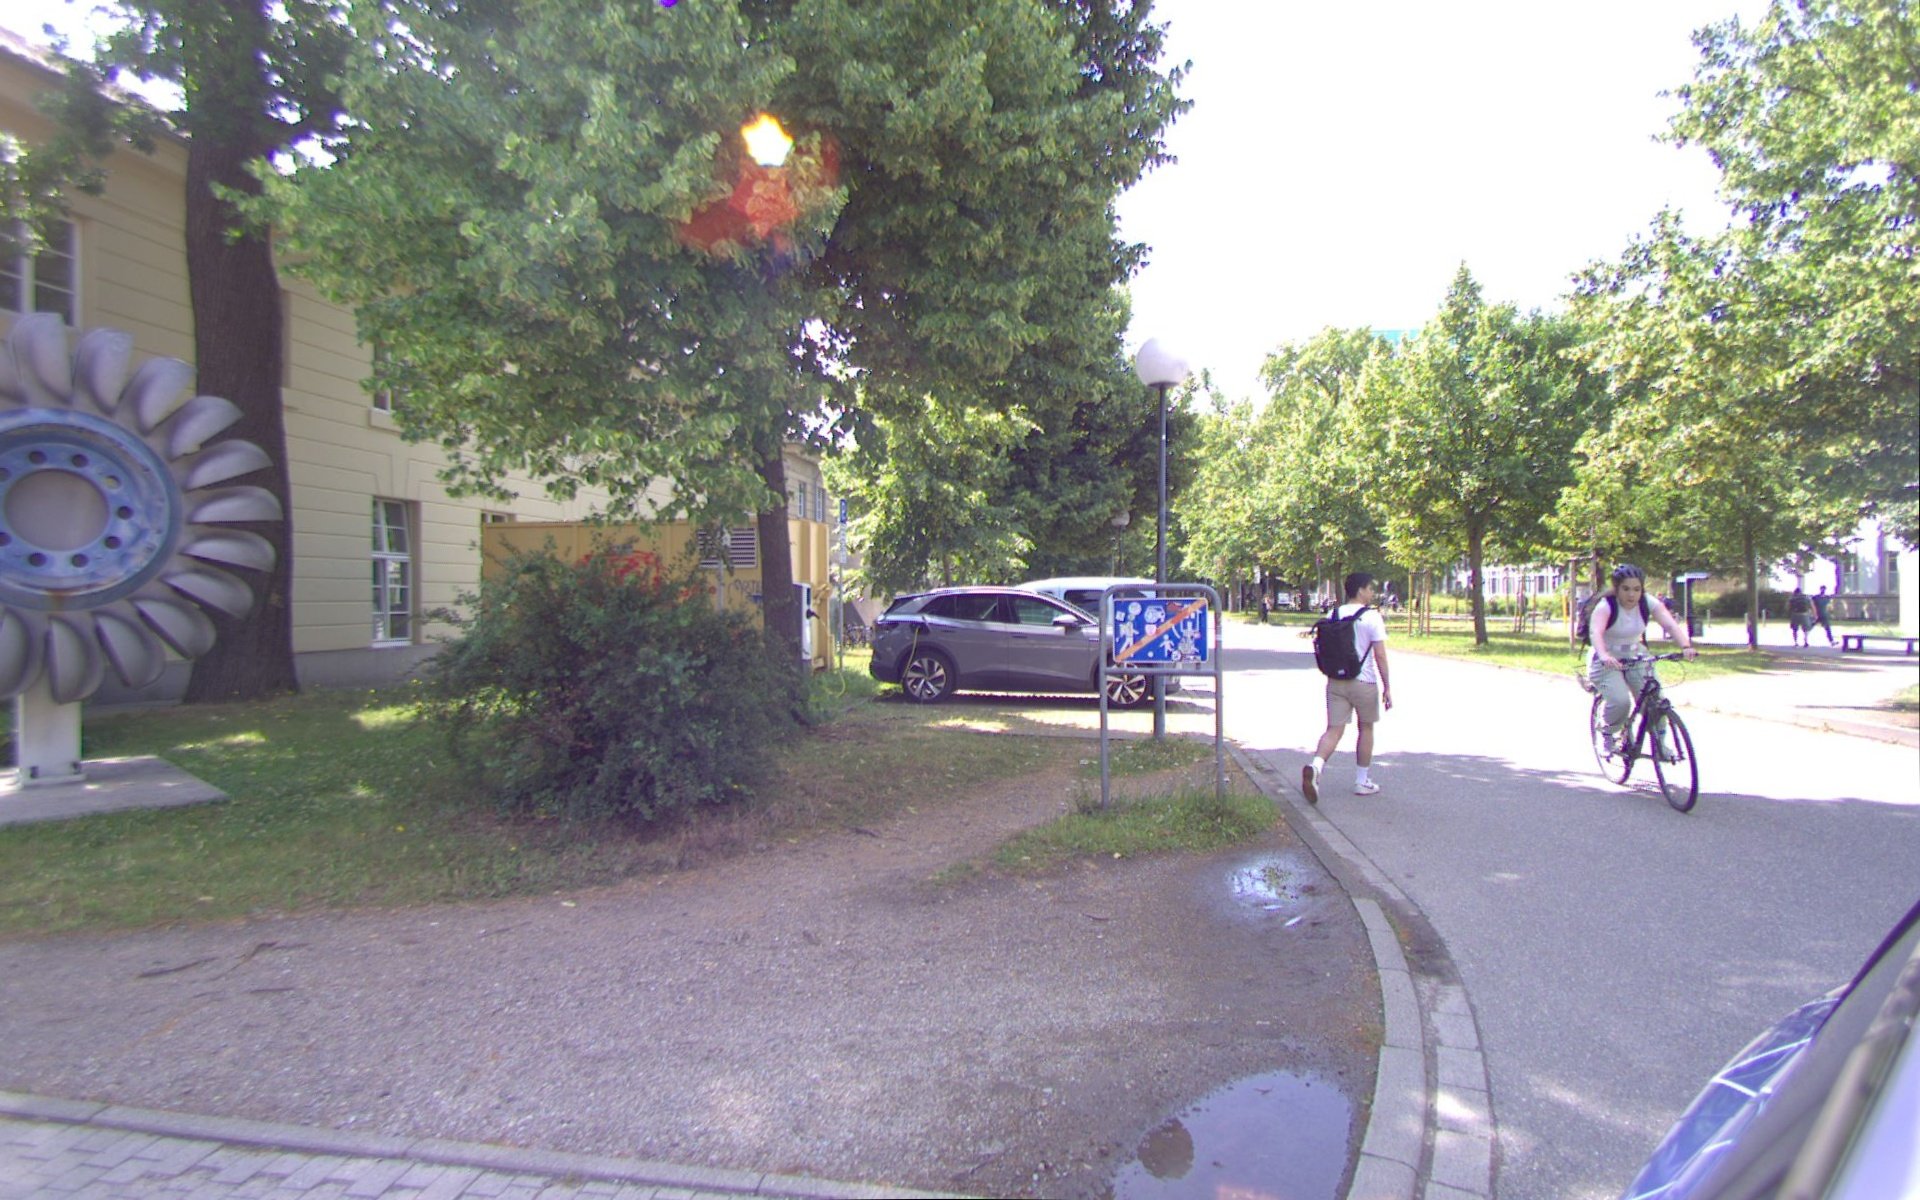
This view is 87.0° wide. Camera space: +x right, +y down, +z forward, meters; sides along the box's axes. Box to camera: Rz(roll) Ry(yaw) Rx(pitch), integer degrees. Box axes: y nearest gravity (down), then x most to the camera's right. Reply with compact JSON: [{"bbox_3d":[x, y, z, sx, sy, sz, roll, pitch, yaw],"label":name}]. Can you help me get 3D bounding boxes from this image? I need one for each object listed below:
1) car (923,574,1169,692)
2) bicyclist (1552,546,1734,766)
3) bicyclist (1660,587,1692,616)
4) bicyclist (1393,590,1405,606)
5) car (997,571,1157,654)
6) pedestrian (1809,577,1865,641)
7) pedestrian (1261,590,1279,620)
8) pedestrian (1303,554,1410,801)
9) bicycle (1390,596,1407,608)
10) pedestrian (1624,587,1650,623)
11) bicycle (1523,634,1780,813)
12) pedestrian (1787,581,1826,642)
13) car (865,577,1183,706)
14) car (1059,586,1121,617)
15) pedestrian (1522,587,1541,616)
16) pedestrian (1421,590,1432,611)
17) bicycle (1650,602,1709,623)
[{"bbox_3d":[1.459,0.529,17.121,3.932,1.861,1.820,0,0,8],"label":"car"},{"bbox_3d":[5.003,0.388,7.491,0.664,1.497,1.060,-2,0,8],"label":"bicyclist"},{"bbox_3d":[31.241,0.059,44.144,0.888,1.275,0.795,0,0,14],"label":"bicyclist"},{"bbox_3d":[37.831,-0.156,87.212,0.766,1.350,0.826,0,0,8],"label":"bicyclist"},{"bbox_3d":[3.057,0.312,26.284,3.987,2.039,1.994,0,0,10],"label":"car"},{"bbox_3d":[25.384,0.259,29.300,0.782,1.798,1.090,-1,0,14],"label":"pedestrian"},{"bbox_3d":[15.823,0.233,51.621,0.783,1.506,0.633,0,0,8],"label":"pedestrian"},{"bbox_3d":[2.955,0.552,7.589,0.632,1.767,0.580,0,0,12],"label":"pedestrian"},{"bbox_3d":[37.854,0.174,87.381,0.766,1.045,2.144,0,0,8],"label":"bicycle"},{"bbox_3d":[32.047,0.239,47.918,0.839,1.670,0.799,0,0,19],"label":"pedestrian"},{"bbox_3d":[5.035,0.837,7.577,0.664,1.086,2.131,-2,-1,8],"label":"bicycle"},{"bbox_3d":[23.582,0.320,28.203,0.703,1.677,0.726,0,0,-40],"label":"pedestrian"},{"bbox_3d":[0.935,0.537,14.589,4.289,1.673,1.891,0,0,8],"label":"car"},{"bbox_3d":[8.231,0.099,63.740,3.793,1.904,1.776,0,0,10],"label":"car"},{"bbox_3d":[33.905,0.082,60.040,0.783,1.744,0.633,0,0,8],"label":"pedestrian"},{"bbox_3d":[37.200,0.028,80.733,0.586,1.649,0.761,0,0,8],"label":"pedestrian"},{"bbox_3d":[31.356,0.540,44.148,1.918,0.929,0.795,0,0,14],"label":"bicycle"}]
